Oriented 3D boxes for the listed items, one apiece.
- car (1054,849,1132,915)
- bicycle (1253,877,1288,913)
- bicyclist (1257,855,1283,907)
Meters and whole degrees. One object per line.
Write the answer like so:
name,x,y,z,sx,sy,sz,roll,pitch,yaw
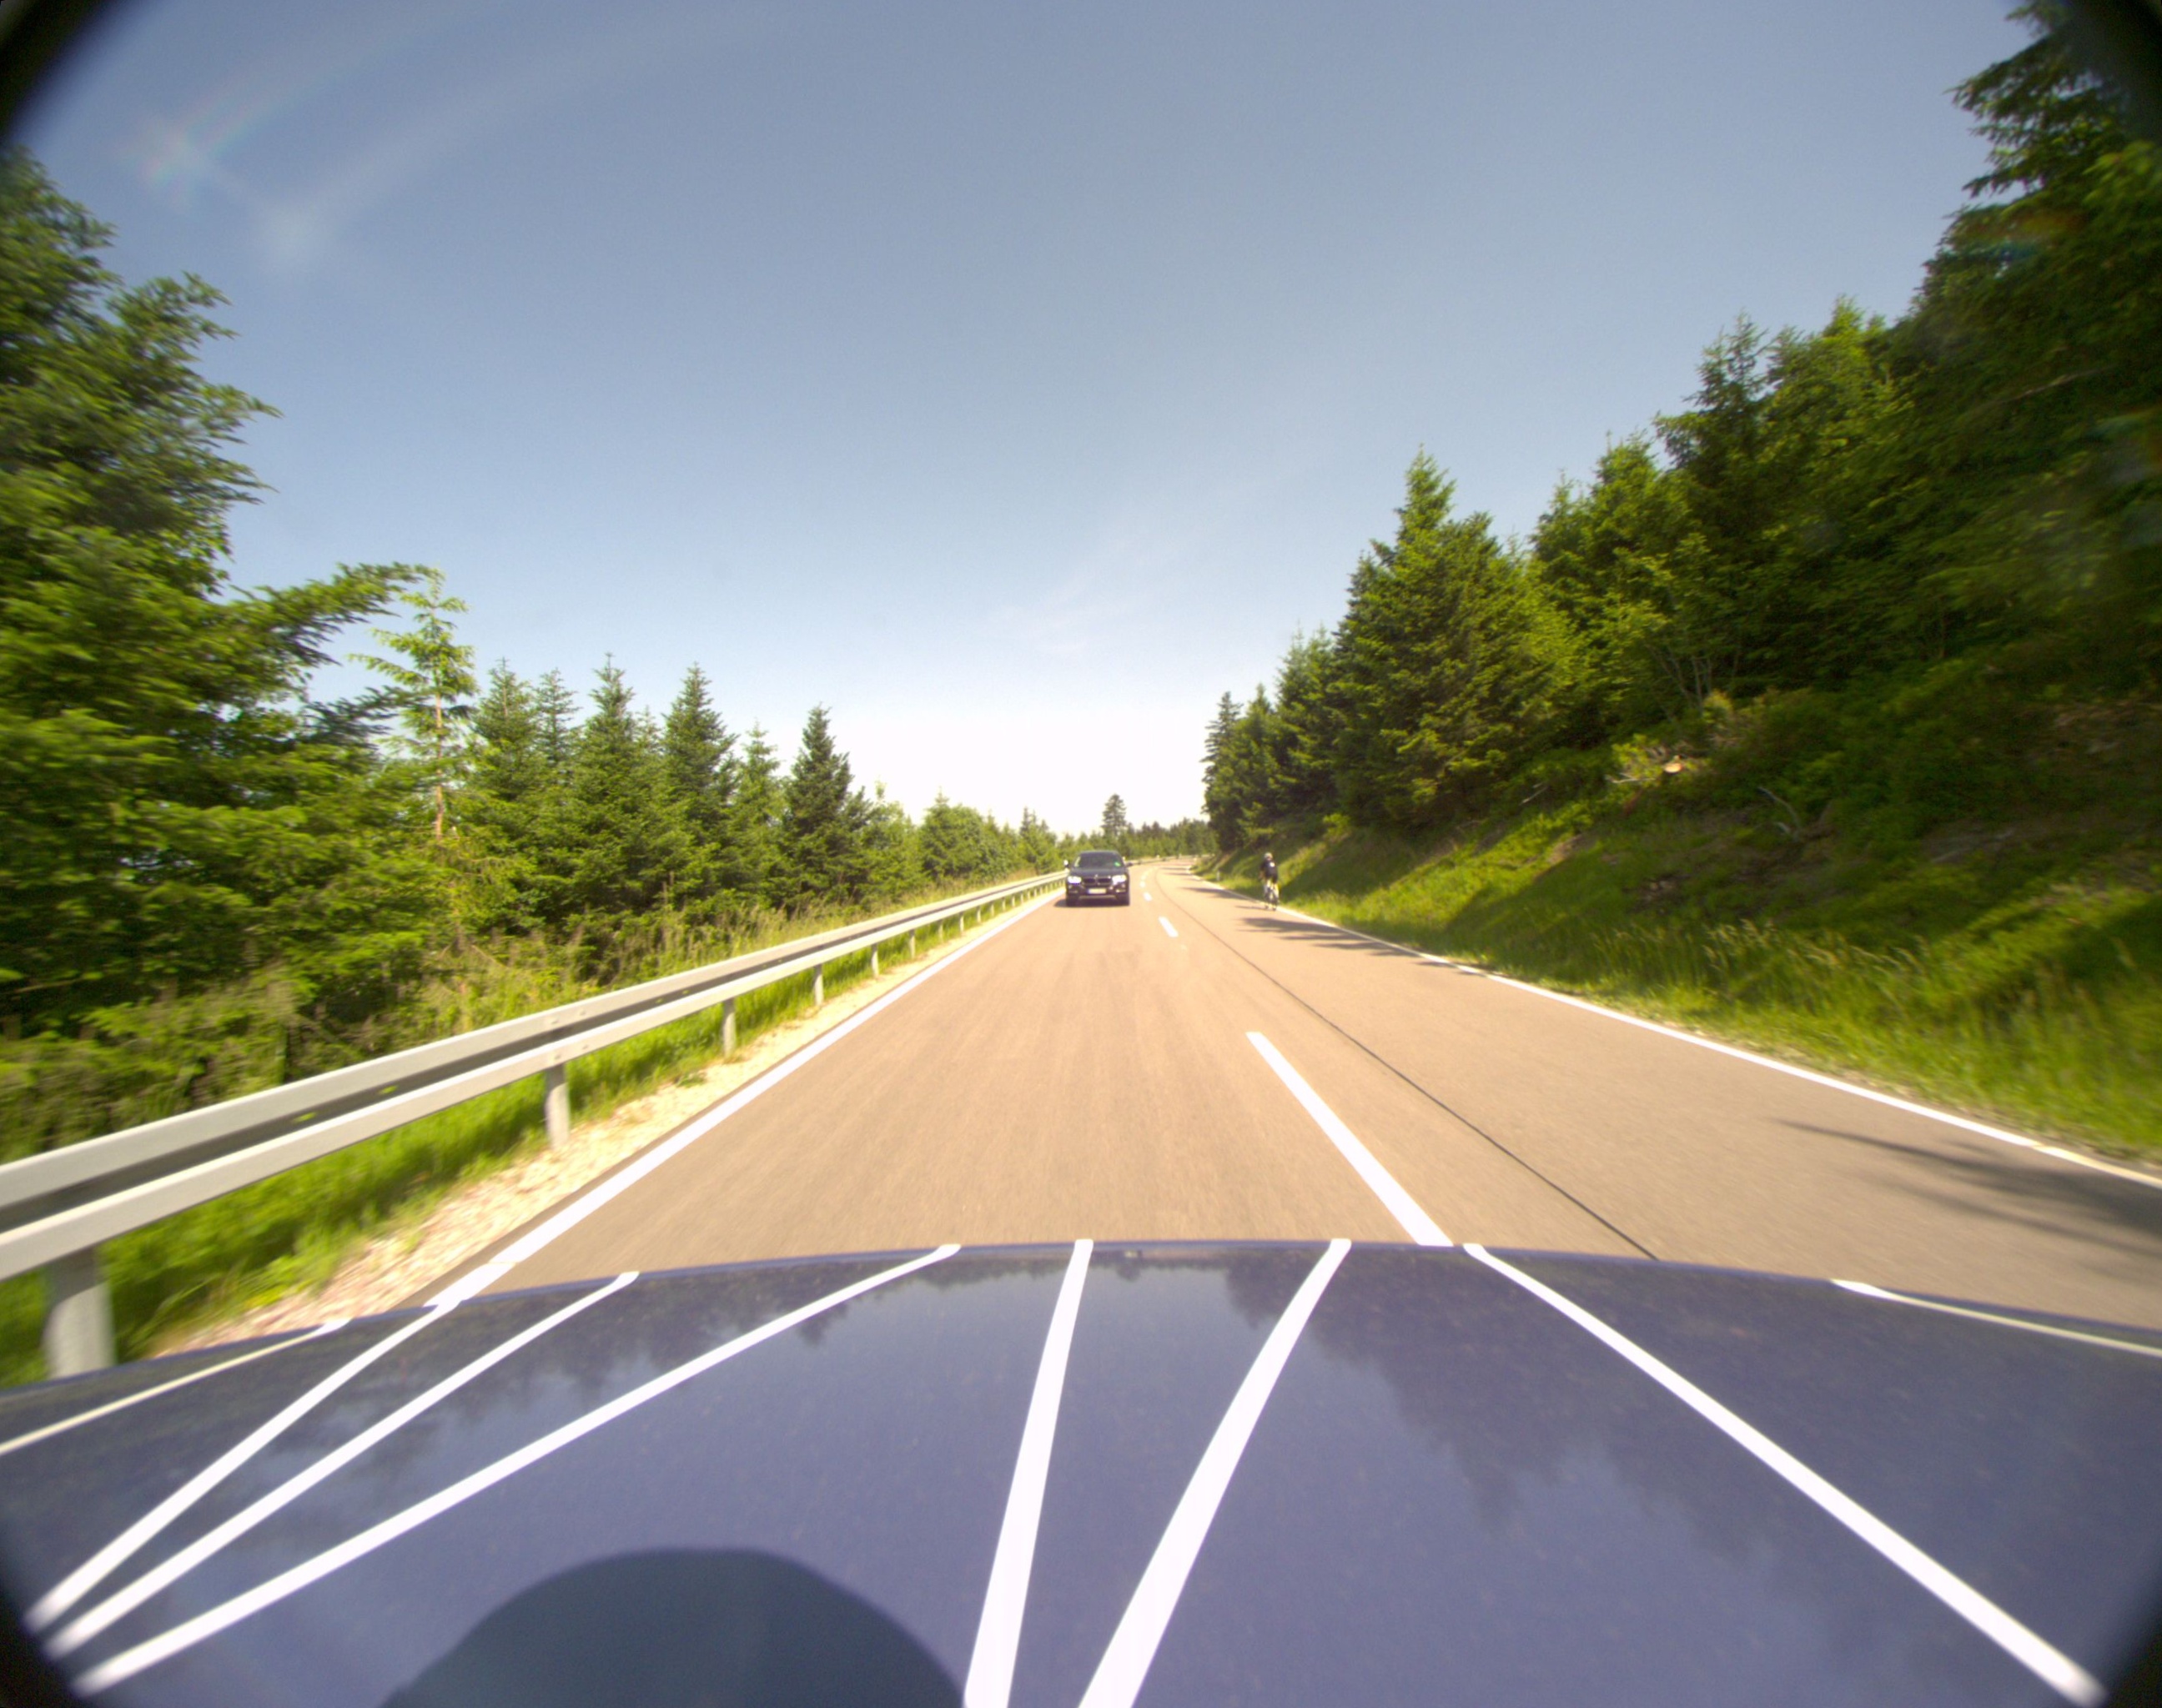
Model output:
car,0.491,0.770,23.110,1.998,1.676,5.938,-2,-1,3
bicycle,5.292,1.130,21.319,0.554,0.881,2.062,0,0,3
bicyclist,5.303,0.740,21.358,0.543,1.442,0.983,0,1,3
